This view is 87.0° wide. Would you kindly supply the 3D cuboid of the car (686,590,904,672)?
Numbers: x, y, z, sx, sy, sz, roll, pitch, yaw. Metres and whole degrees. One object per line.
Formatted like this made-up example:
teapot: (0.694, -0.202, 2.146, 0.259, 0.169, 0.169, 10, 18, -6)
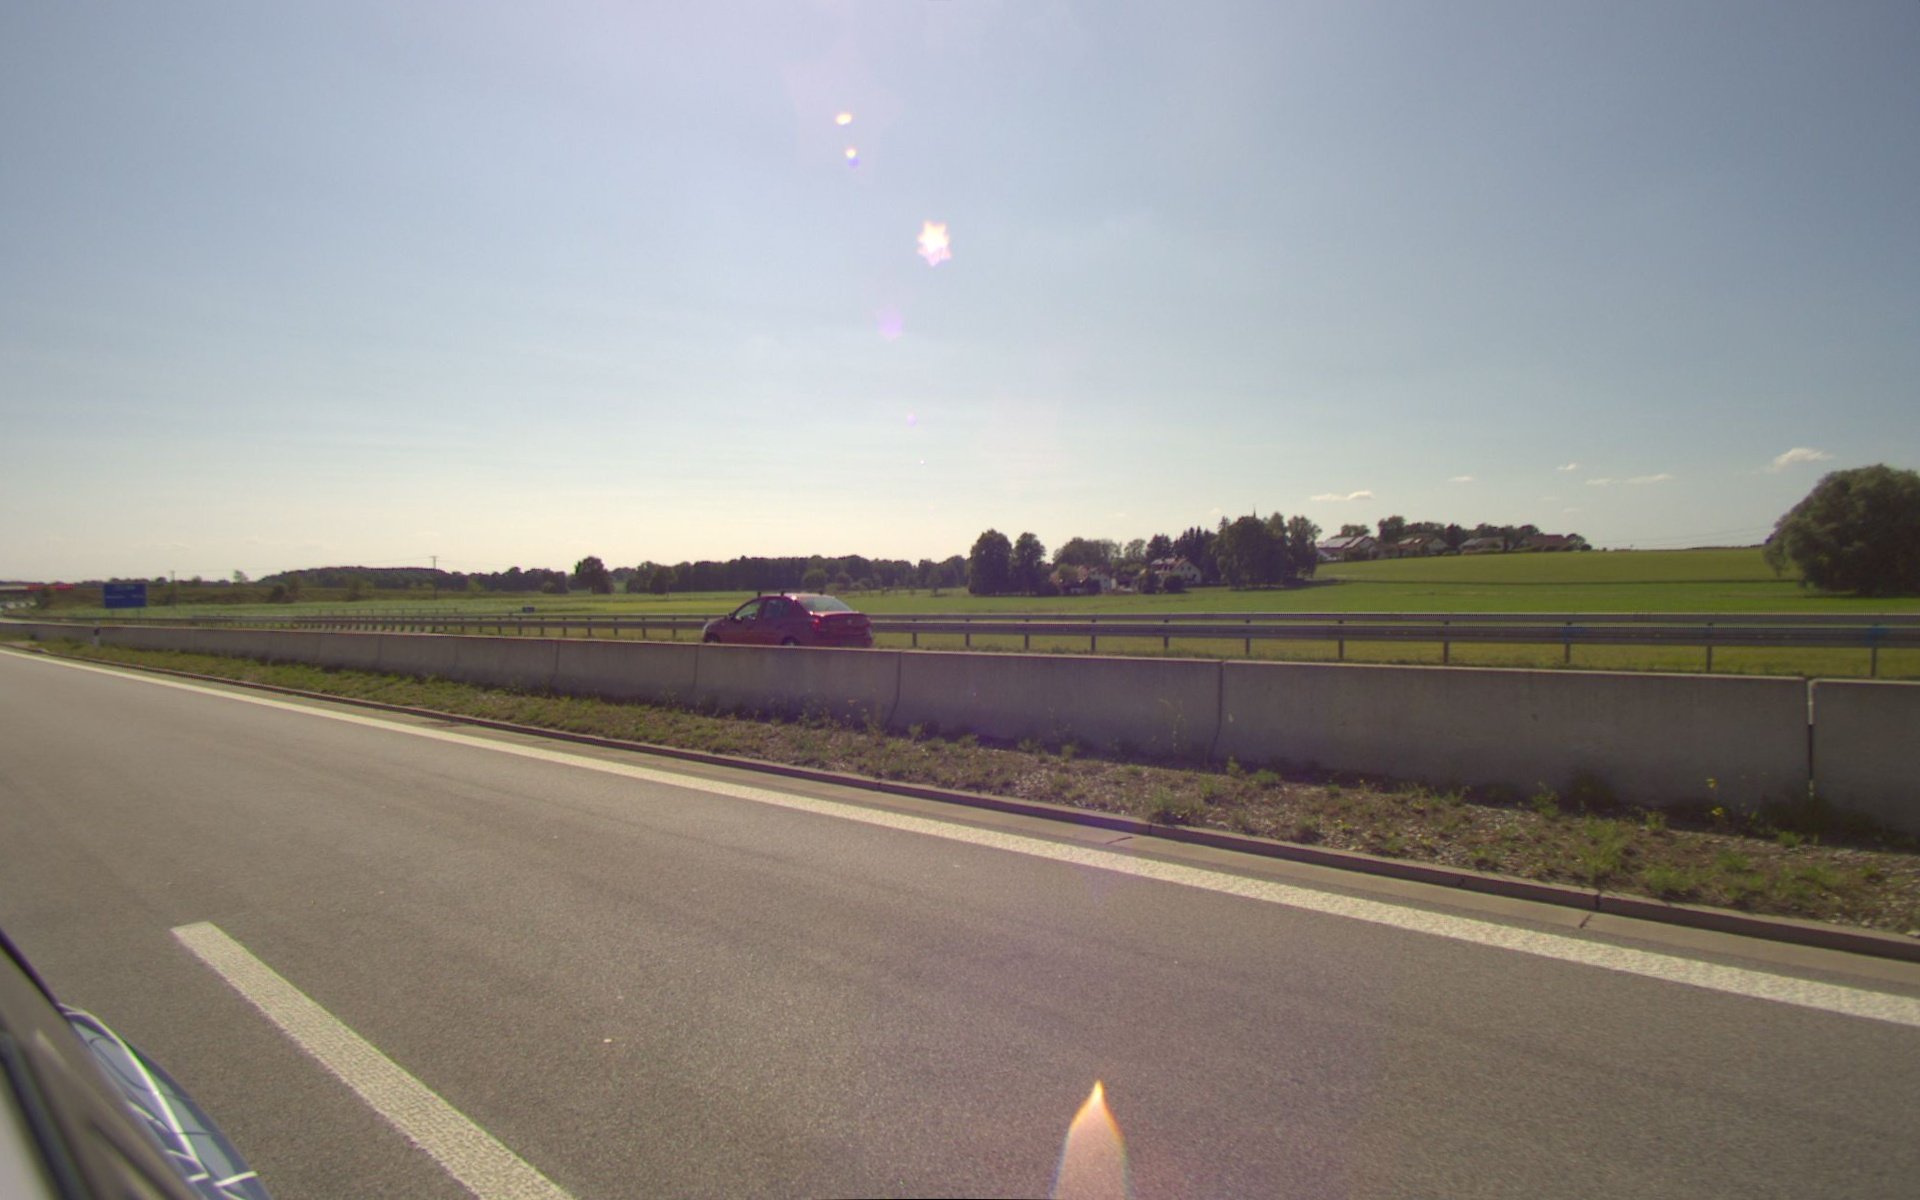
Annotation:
car: (-3.535, 0.616, 21.137, 4.804, 1.535, 1.878, -1, -2, 41)
